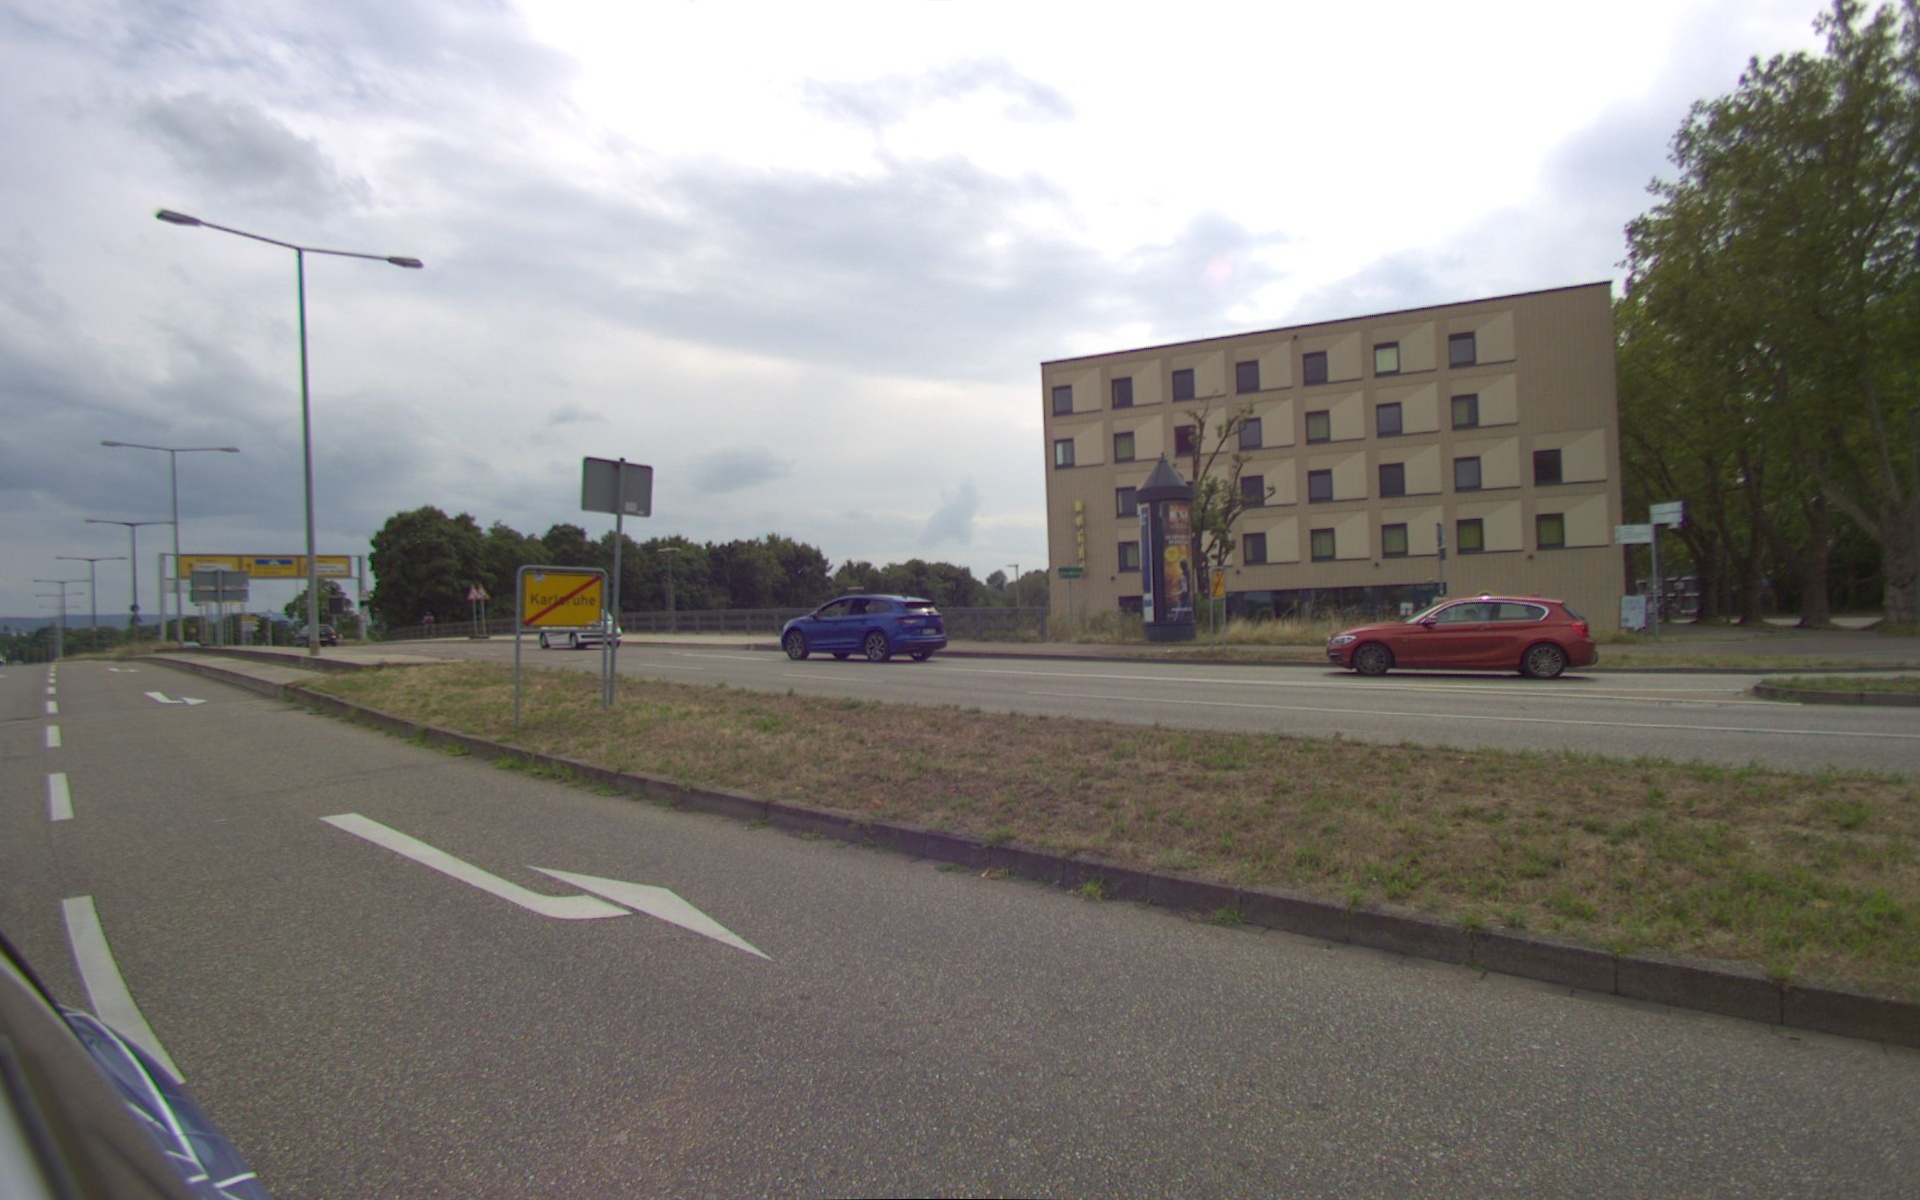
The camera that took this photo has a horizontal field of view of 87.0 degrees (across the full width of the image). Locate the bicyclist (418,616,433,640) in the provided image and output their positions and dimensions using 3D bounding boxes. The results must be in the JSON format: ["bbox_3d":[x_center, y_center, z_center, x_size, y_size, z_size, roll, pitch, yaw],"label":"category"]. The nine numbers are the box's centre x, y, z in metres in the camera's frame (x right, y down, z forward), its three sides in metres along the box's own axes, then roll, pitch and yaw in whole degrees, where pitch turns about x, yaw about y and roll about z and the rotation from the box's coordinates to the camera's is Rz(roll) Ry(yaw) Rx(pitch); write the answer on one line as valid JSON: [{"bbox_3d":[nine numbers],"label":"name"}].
[{"bbox_3d":[-37.122,1.944,70.293,0.676,1.684,0.848,-1,-1,-43],"label":"bicyclist"}]

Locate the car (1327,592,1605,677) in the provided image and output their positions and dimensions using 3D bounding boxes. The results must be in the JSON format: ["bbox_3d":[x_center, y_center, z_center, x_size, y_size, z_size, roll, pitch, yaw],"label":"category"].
[{"bbox_3d":[8.831,0.598,18.105,4.181,1.391,1.937,-1,0,19],"label":"car"}]

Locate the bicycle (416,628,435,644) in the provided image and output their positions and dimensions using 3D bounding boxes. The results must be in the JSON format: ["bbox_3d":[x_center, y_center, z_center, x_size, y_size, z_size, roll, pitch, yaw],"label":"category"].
[{"bbox_3d":[-37.147,2.495,70.316,0.676,1.061,1.997,-1,-1,-42],"label":"bicycle"}]

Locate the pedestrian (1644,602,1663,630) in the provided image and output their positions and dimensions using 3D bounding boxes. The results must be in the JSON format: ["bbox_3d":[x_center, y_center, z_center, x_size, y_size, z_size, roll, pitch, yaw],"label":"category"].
[{"bbox_3d":[28.868,0.671,42.130,0.455,1.133,0.503,-1,-1,-36],"label":"pedestrian"}]

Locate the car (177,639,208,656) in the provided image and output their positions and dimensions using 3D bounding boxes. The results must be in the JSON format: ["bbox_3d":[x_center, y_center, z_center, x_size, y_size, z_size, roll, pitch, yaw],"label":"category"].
[{"bbox_3d":[-74.792,4.604,98.631,1.800,1.457,4.355,-1,0,-45],"label":"car"}]

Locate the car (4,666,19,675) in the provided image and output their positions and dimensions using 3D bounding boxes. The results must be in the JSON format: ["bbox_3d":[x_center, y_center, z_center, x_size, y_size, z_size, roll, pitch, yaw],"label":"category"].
[{"bbox_3d":[-167.231,12.347,178.376,1.834,1.353,4.004,-1,-1,-42],"label":"car"}]

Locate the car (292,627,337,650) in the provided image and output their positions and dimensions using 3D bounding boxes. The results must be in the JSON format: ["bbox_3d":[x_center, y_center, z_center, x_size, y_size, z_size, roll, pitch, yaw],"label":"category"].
[{"bbox_3d":[-41.522,2.460,65.092,1.771,1.429,4.005,-1,-1,-42],"label":"car"}]

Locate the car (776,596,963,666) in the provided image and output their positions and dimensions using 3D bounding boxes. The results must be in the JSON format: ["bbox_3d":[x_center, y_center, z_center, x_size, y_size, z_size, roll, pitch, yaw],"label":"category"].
[{"bbox_3d":[-2.283,0.729,25.027,4.455,1.572,1.926,-1,-1,36],"label":"car"}]

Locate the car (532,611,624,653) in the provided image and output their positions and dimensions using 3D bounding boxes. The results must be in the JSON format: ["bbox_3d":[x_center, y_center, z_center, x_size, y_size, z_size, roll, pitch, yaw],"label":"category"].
[{"bbox_3d":[-14.133,1.148,37.320,3.878,1.456,1.706,-1,0,44],"label":"car"}]
